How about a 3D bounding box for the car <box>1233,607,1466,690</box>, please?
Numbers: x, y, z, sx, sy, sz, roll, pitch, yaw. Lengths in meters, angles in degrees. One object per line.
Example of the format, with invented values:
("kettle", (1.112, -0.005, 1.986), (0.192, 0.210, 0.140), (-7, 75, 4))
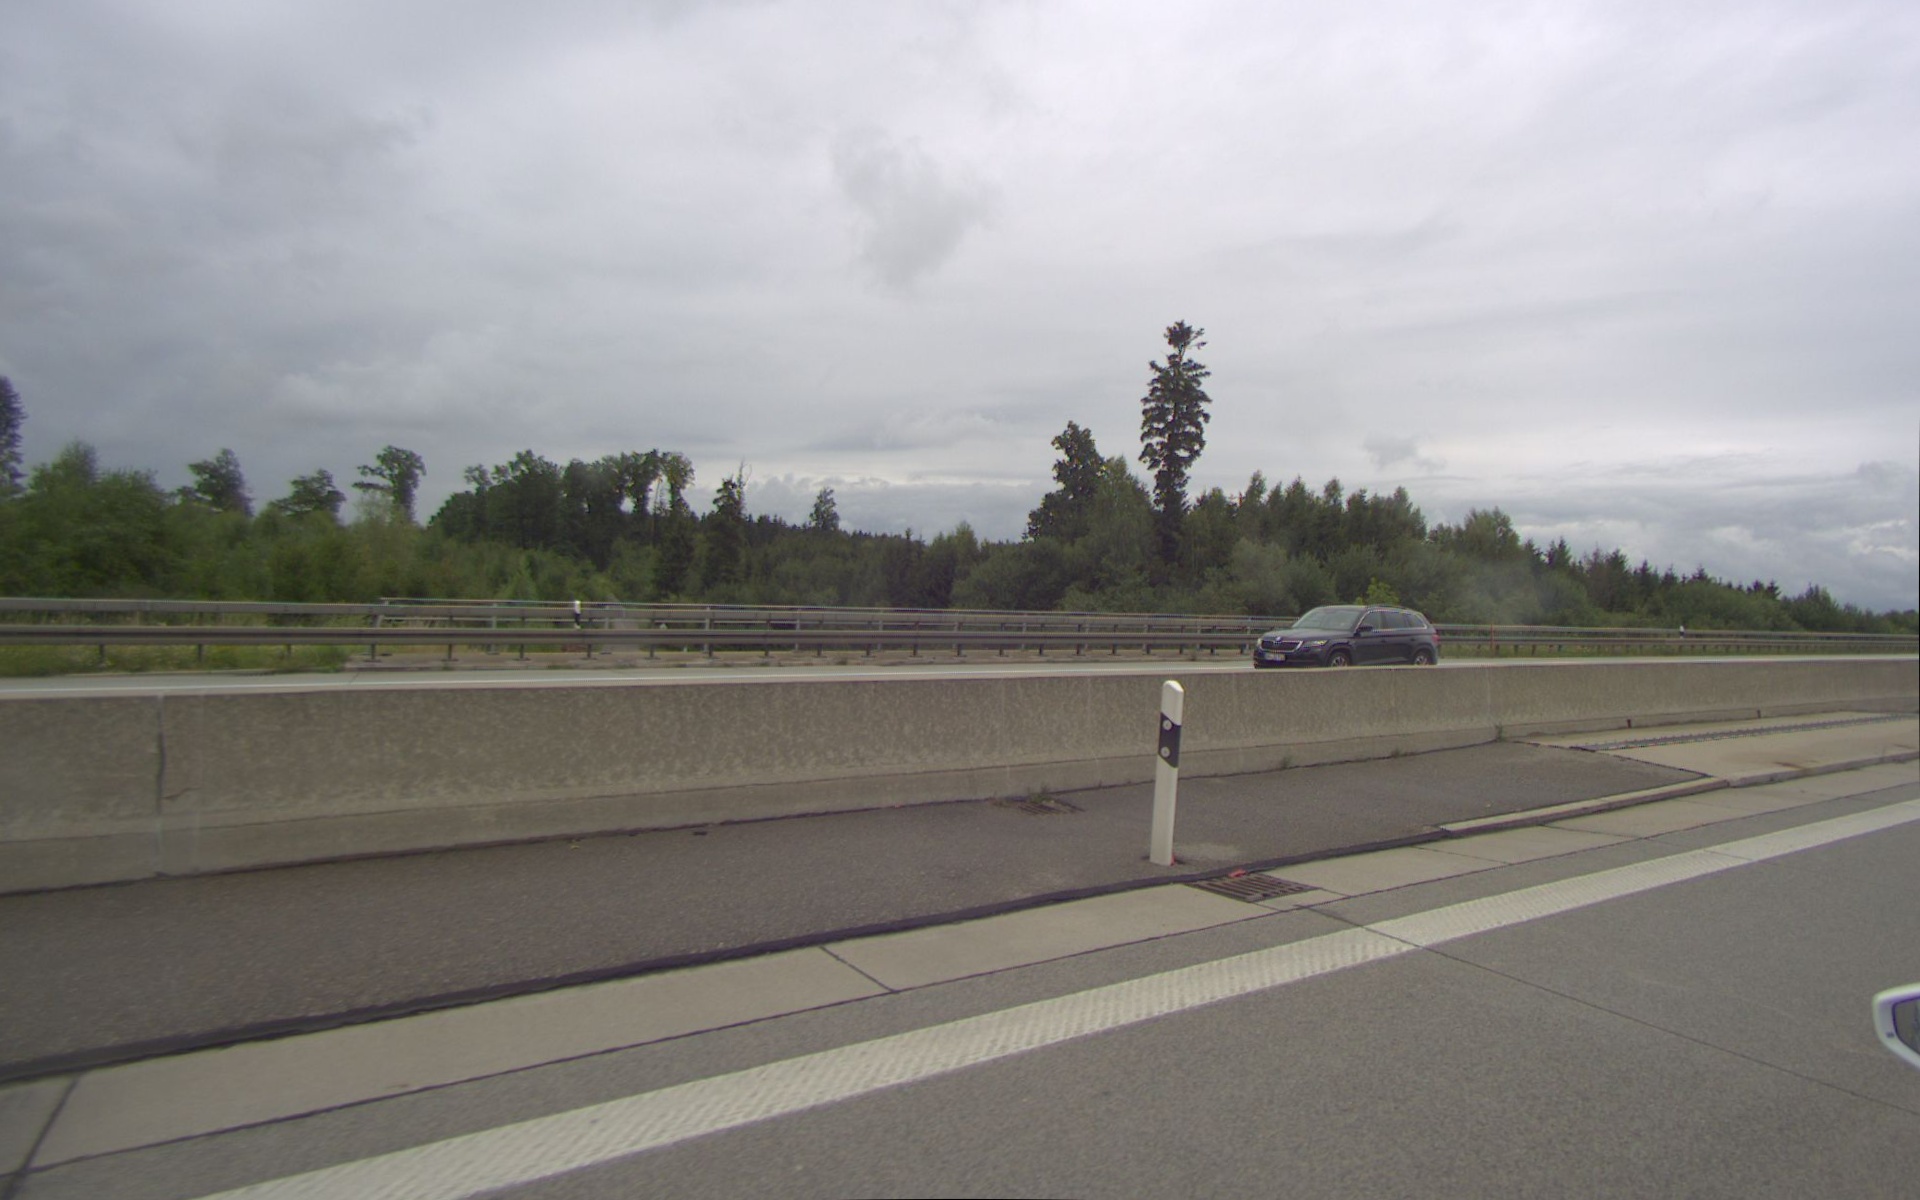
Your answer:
("car", (8.222, 0.996, 21.070), (5.030, 1.554, 1.820), (2, 0, -30))
